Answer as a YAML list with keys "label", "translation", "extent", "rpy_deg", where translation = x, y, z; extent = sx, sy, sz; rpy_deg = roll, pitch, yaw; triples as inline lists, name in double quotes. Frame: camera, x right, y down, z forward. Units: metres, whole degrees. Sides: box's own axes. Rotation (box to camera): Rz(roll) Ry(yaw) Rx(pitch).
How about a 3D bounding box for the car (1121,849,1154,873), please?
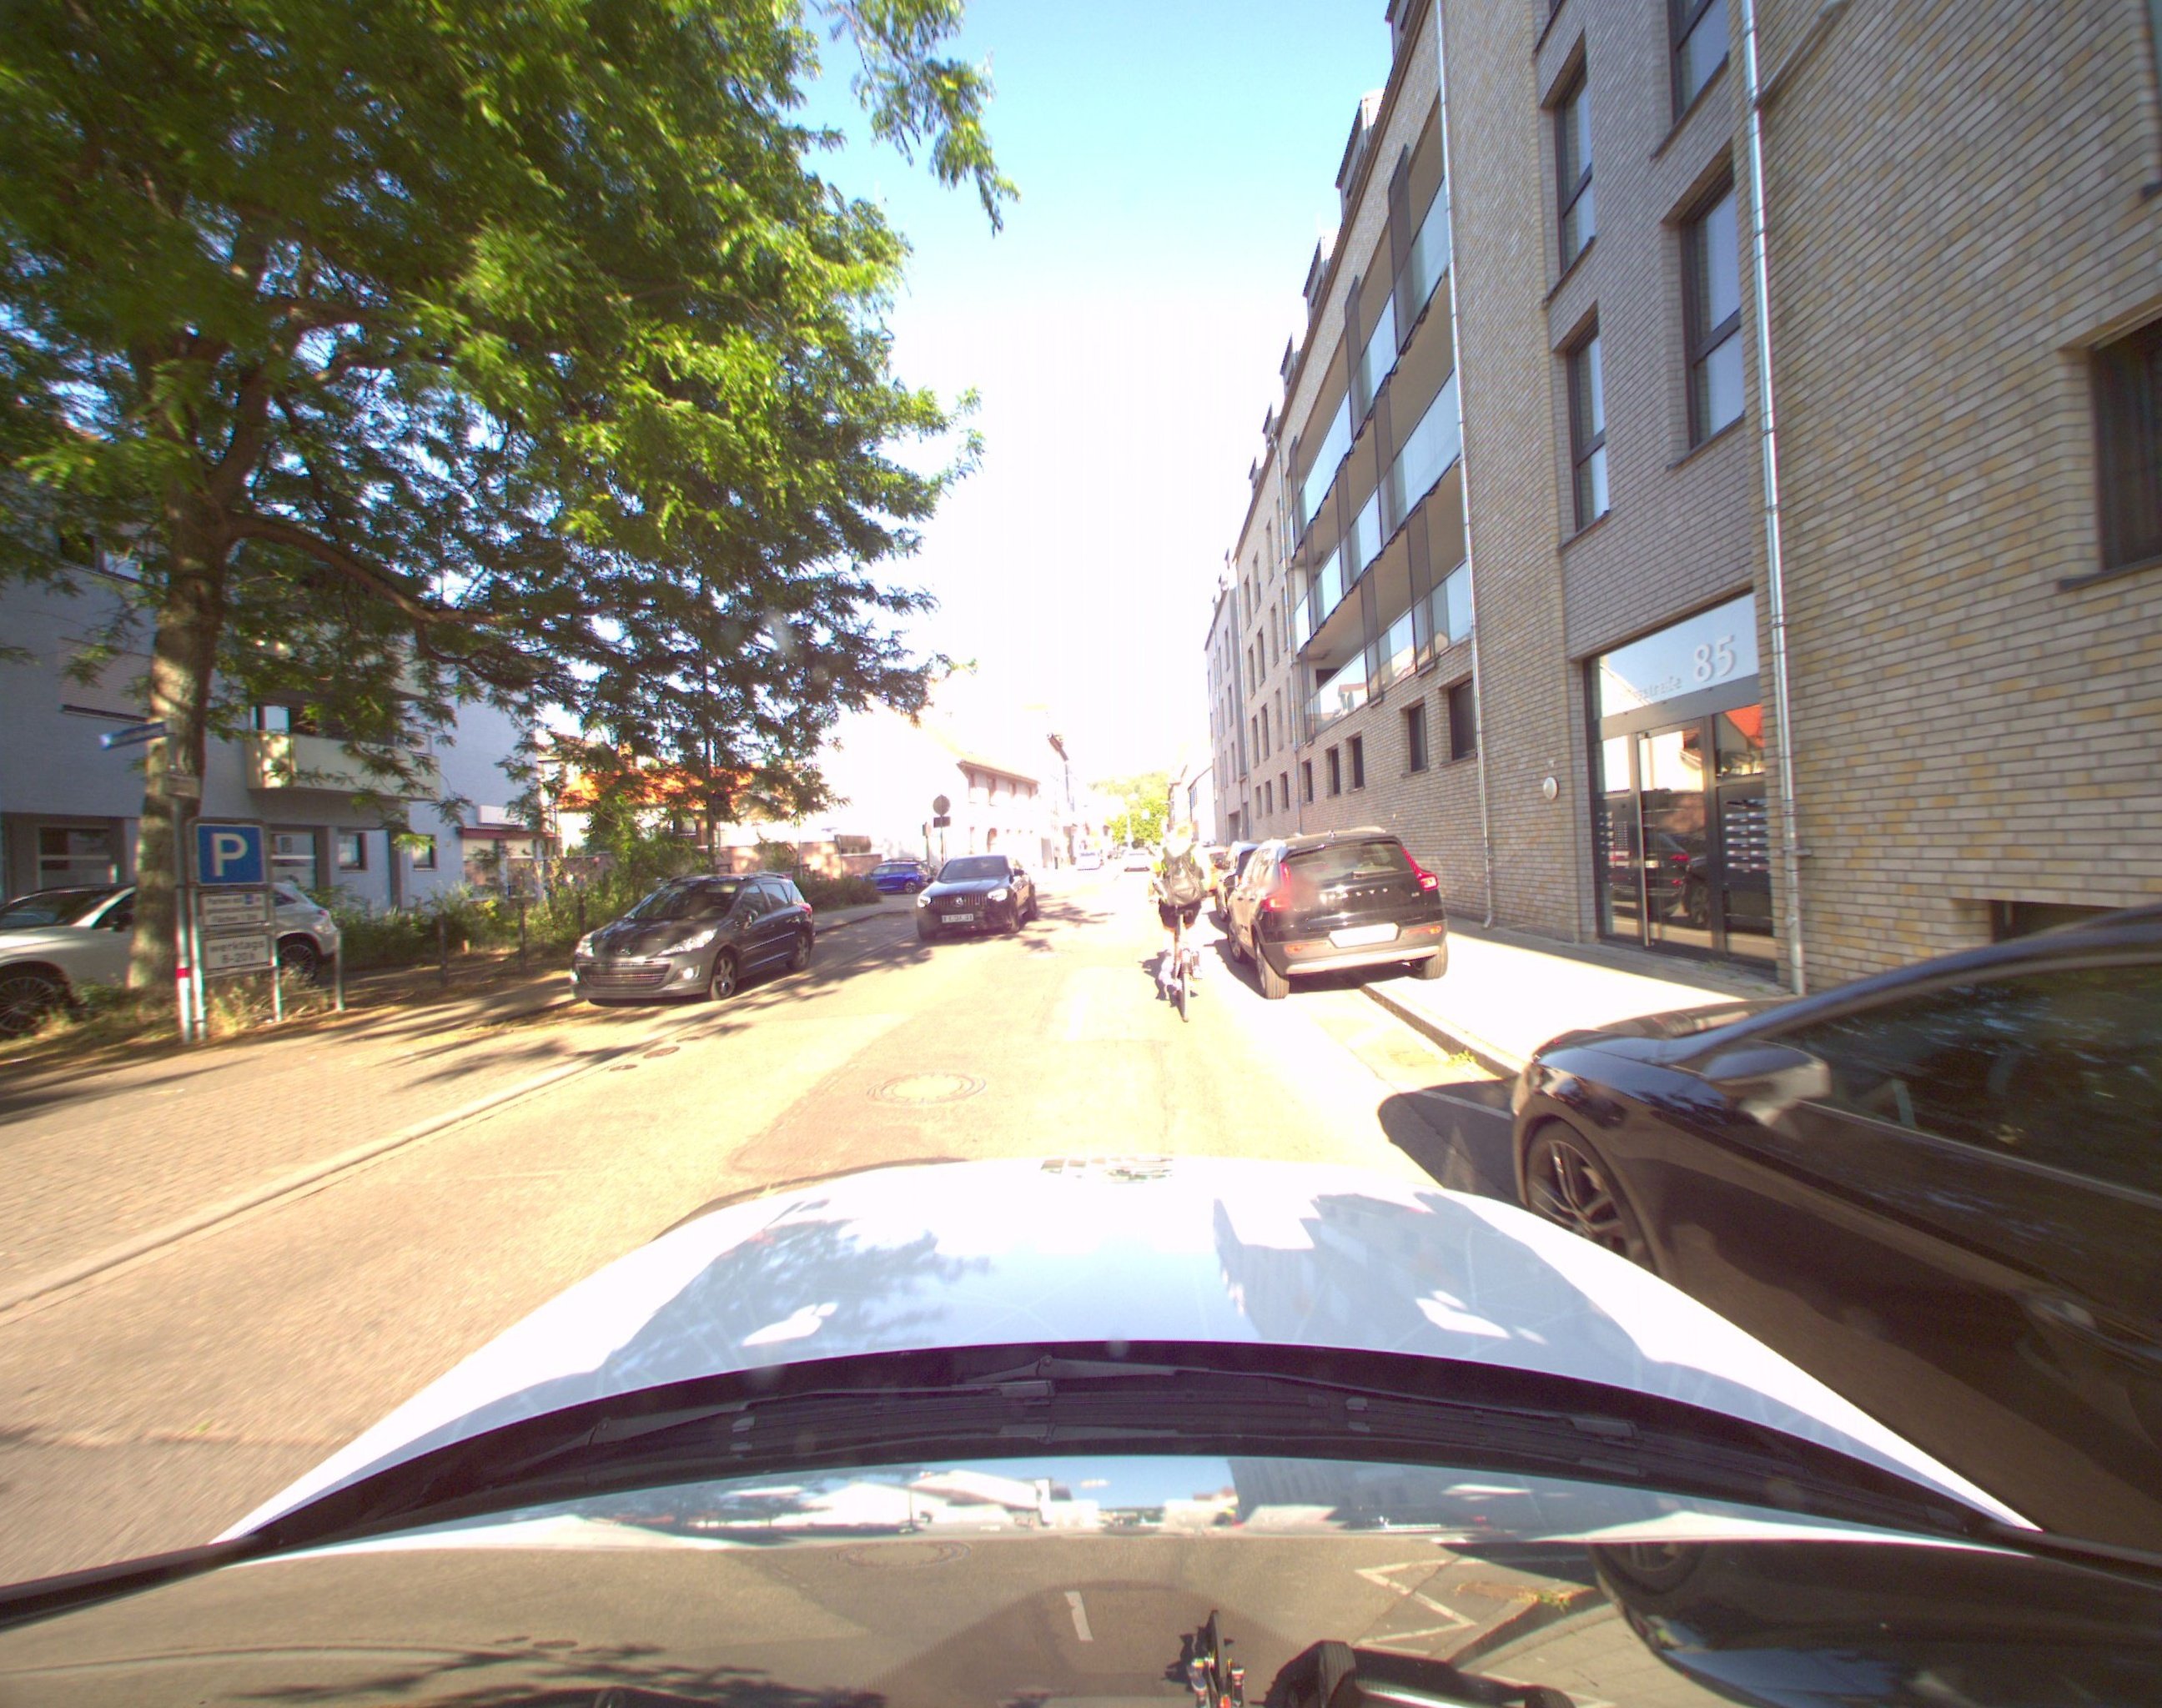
- label: "car"
  translation: [3.767, 0.439, 54.544]
  extent: [1.986, 1.466, 4.002]
  rpy_deg: [-3, 0, 2]

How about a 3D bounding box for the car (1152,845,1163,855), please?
- label: "car"
  translation: [14.000, -0.686, 148.577]
  extent: [1.809, 1.630, 4.008]
  rpy_deg: [-4, 1, 7]

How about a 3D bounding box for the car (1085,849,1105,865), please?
- label: "car"
  translation: [1.467, 0.290, 83.430]
  extent: [1.723, 1.499, 3.962]
  rpy_deg: [-4, -1, 3]

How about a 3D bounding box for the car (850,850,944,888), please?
- label: "car"
  translation: [-9.545, 0.747, 42.466]
  extent: [4.342, 1.794, 1.991]
  rpy_deg: [0, 3, 5]

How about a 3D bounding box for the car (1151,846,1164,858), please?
- label: "car"
  translation: [12.936, -0.371, 137.247]
  extent: [2.002, 1.853, 4.004]
  rpy_deg: [-2, 1, 3]

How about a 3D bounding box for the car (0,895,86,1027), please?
- label: "car"
  translation: [-14.381, 1.393, 8.972]
  extent: [2.068, 1.575, 3.808]
  rpy_deg: [-3, 0, 0]

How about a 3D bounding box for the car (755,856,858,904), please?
- label: "car"
  translation: [-13.053, 1.229, 38.852]
  extent: [3.970, 1.500, 2.003]
  rpy_deg: [-9, 3, 4]

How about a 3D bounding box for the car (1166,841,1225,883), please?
- label: "car"
  translation: [5.019, 0.312, 36.359]
  extent: [1.986, 1.653, 4.764]
  rpy_deg: [-3, 1, 1]

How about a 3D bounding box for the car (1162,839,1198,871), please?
- label: "car"
  translation: [5.937, 0.029, 49.252]
  extent: [1.846, 1.636, 4.629]
  rpy_deg: [-6, 0, 5]

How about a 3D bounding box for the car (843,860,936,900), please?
- label: "car"
  translation: [-9.057, 1.214, 38.725]
  extent: [3.750, 1.530, 2.003]
  rpy_deg: [-4, 1, 4]

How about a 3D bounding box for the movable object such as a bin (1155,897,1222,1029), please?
- label: "movable object such as a bin"
  translation: [0.975, 0.954, 7.697]
  extent: [0.453, 1.033, 1.841]
  rpy_deg: [0, -1, 2]

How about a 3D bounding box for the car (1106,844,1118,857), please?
- label: "car"
  translation: [5.548, -0.621, 143.206]
  extent: [1.986, 2.013, 4.003]
  rpy_deg: [-3, 0, 2]

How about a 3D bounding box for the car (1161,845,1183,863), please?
- label: "car"
  translation: [8.051, -0.019, 72.584]
  extent: [1.733, 1.492, 4.445]
  rpy_deg: [-5, 0, 5]

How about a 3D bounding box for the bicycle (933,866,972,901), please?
- label: "bicycle"
  translation: [-4.061, 0.923, 25.876]
  extent: [0.700, 1.003, 1.945]
  rpy_deg: [-2, 0, 7]

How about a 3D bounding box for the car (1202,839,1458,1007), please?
- label: "car"
  translation: [2.642, 0.640, 9.736]
  extent: [1.809, 1.466, 4.272]
  rpy_deg: [-3, 0, 2]

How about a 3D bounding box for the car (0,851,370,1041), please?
- label: "car"
  translation: [-11.855, 0.965, 10.020]
  extent: [1.837, 1.895, 4.905]
  rpy_deg: [-3, 1, -1]

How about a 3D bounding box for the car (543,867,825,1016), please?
- label: "car"
  translation: [-5.067, 1.011, 11.088]
  extent: [1.690, 1.491, 4.002]
  rpy_deg: [-3, 0, 2]

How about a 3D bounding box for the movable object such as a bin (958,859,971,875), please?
- label: "movable object such as a bin"
  translation: [-6.410, 0.724, 44.881]
  extent: [0.596, 0.872, 0.606]
  rpy_deg: [-3, 0, 2]

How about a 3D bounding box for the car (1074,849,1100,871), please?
- label: "car"
  translation: [0.554, 0.483, 66.896]
  extent: [1.986, 1.647, 5.223]
  rpy_deg: [-3, 0, 1]

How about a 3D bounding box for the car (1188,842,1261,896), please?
- label: "car"
  translation: [4.551, 0.434, 26.330]
  extent: [1.705, 1.404, 4.077]
  rpy_deg: [-7, 0, 3]

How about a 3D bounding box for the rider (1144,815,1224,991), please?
- label: "rider"
  translation: [0.954, 0.440, 7.761]
  extent: [0.651, 1.562, 1.083]
  rpy_deg: [0, -1, 2]

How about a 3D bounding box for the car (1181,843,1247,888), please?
- label: "car"
  translation: [5.016, 0.377, 31.239]
  extent: [1.985, 1.505, 4.370]
  rpy_deg: [-3, 1, 3]

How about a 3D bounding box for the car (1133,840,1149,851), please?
- label: "car"
  translation: [8.707, -1.191, 118.448]
  extent: [1.986, 1.466, 4.002]
  rpy_deg: [-3, 0, 2]

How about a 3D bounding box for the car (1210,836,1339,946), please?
- label: "car"
  translation: [3.541, 0.557, 15.694]
  extent: [1.879, 1.712, 4.785]
  rpy_deg: [-3, 1, 8]

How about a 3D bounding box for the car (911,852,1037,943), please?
- label: "car"
  translation: [-2.097, 0.794, 17.239]
  extent: [1.932, 1.576, 4.320]
  rpy_deg: [-3, 0, 1]

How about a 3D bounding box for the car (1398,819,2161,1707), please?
- label: "car"
  translation: [2.355, 0.695, 1.365]
  extent: [1.691, 1.467, 4.718]
  rpy_deg: [-4, 0, 0]
